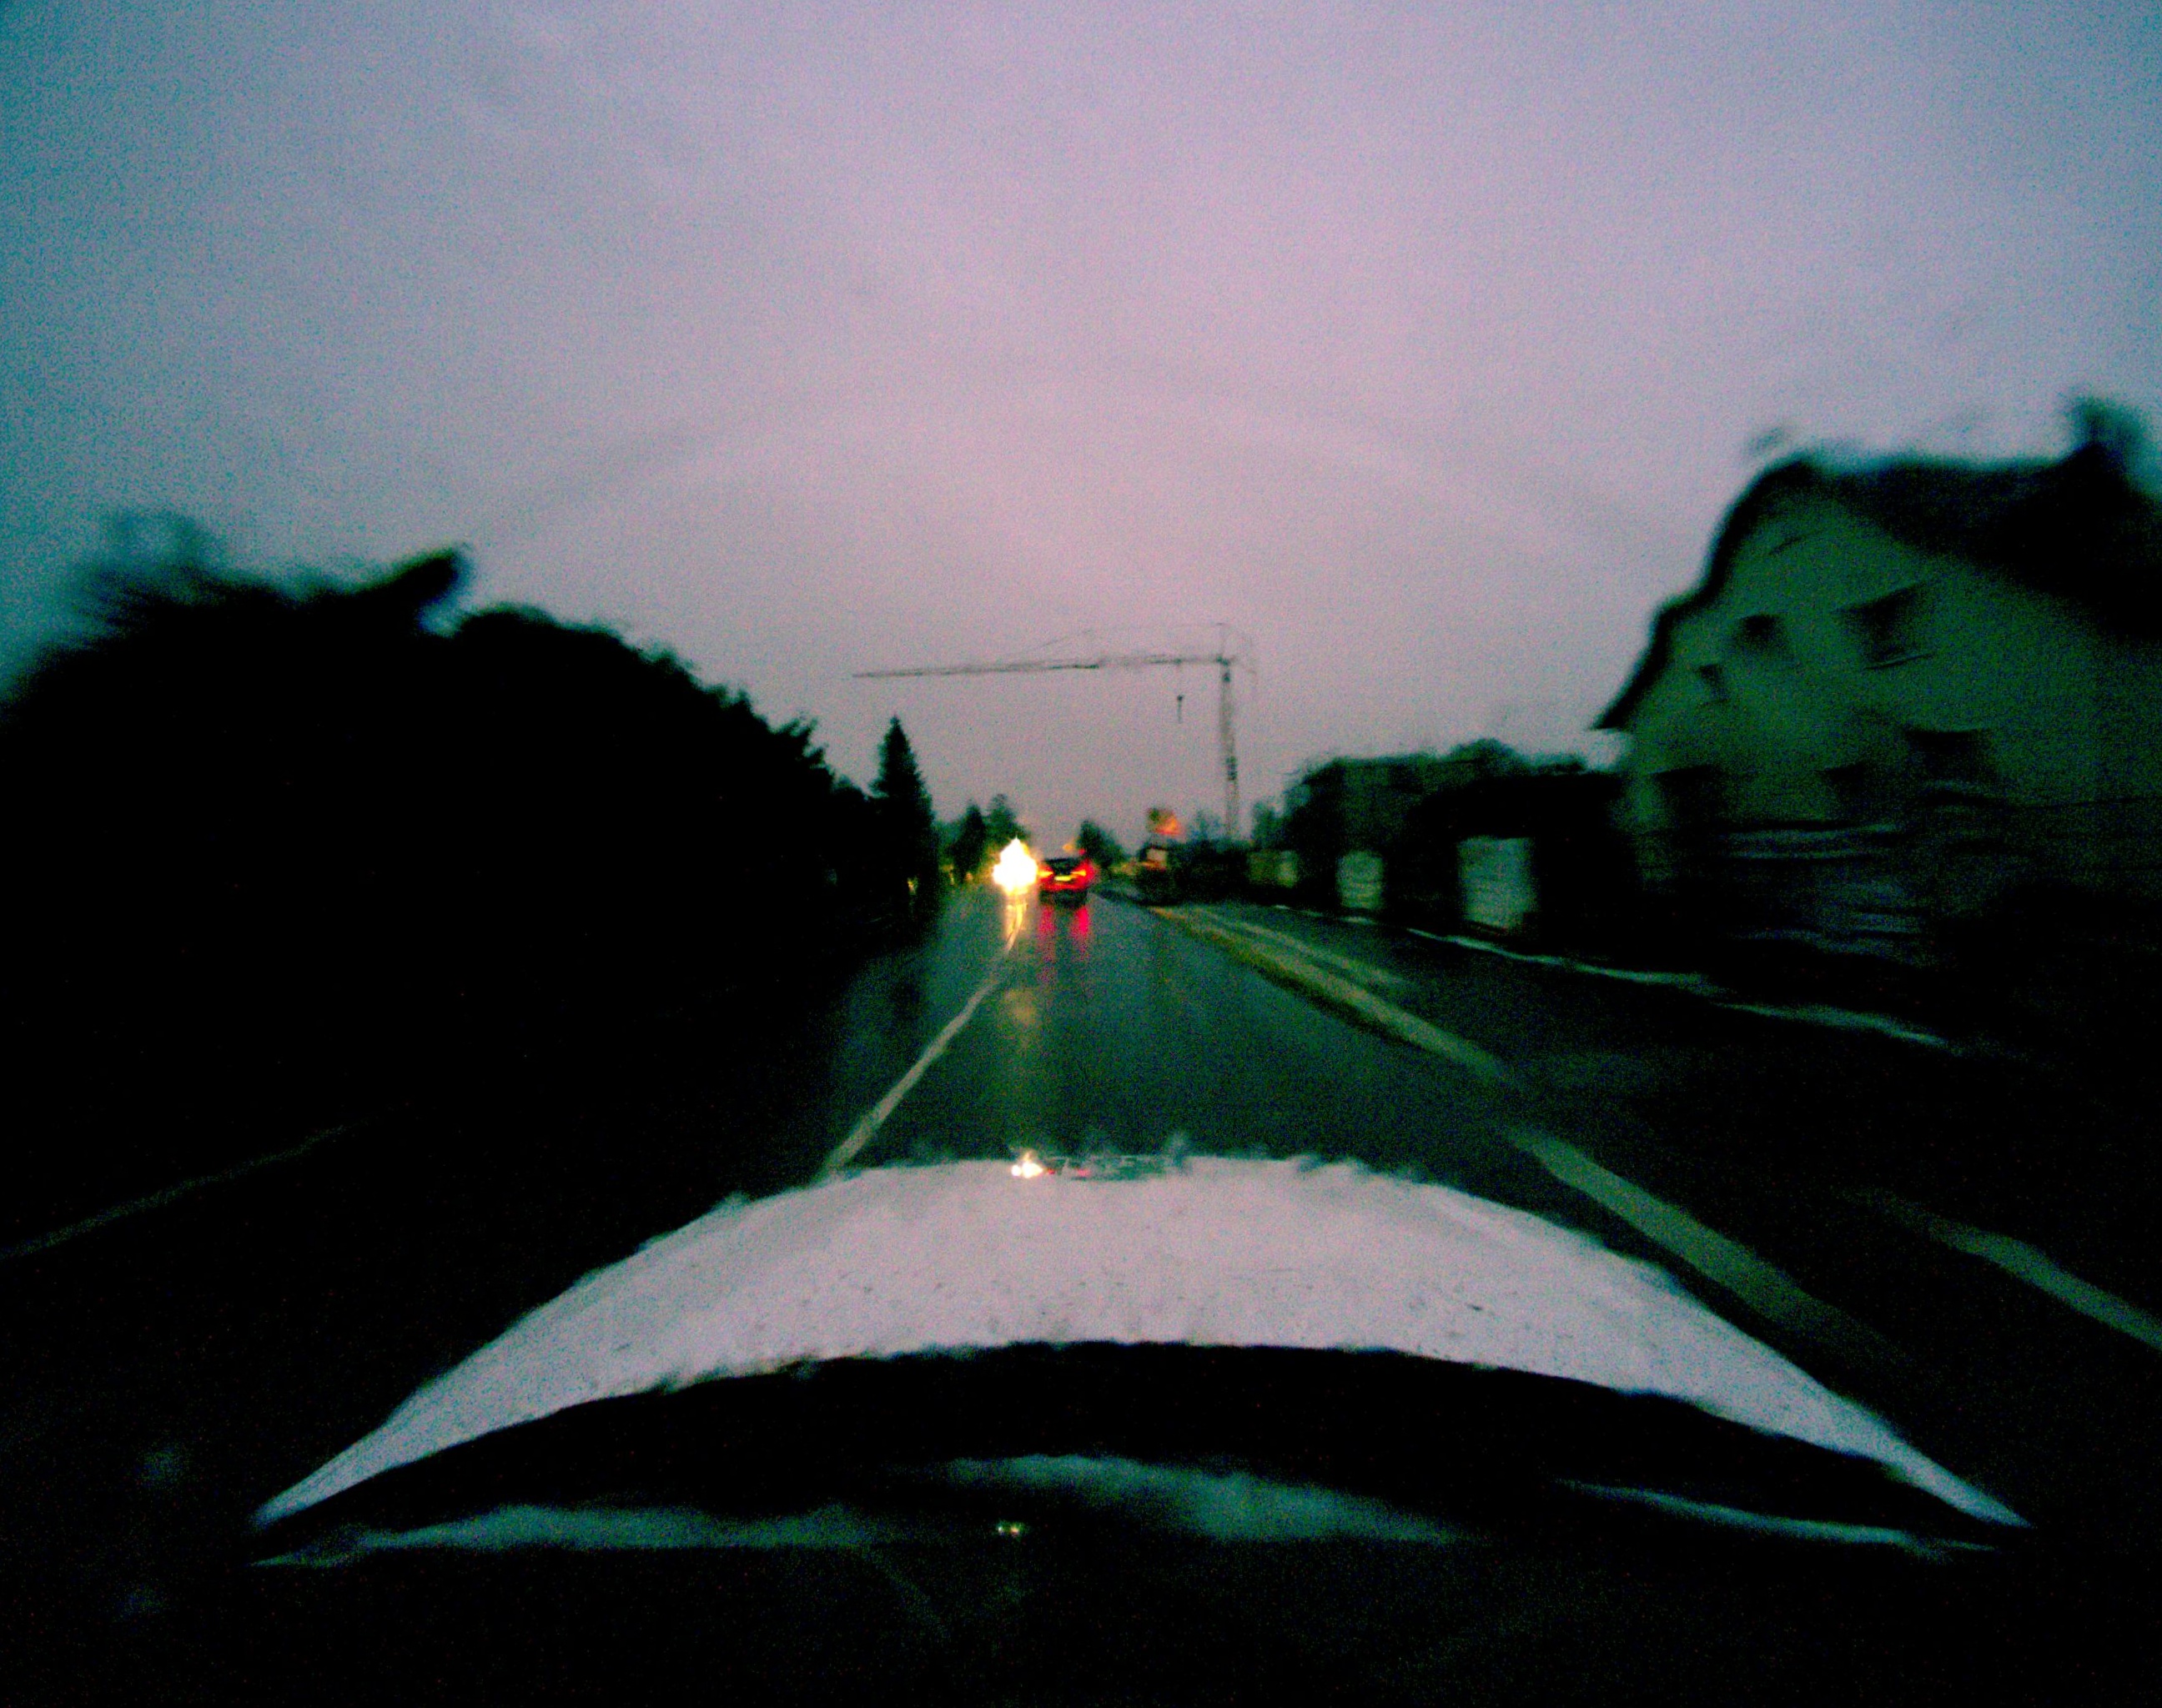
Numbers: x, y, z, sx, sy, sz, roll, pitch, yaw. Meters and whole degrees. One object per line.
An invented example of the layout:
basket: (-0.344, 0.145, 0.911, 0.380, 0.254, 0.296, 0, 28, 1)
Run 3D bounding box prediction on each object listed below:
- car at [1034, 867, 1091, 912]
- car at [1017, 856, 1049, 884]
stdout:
car: (-0.812, 1.386, 32.434, 2.043, 1.573, 4.696, -2, -2, -4)
car: (-3.561, 1.138, 59.693, 1.992, 1.882, 3.990, -3, -1, -7)
